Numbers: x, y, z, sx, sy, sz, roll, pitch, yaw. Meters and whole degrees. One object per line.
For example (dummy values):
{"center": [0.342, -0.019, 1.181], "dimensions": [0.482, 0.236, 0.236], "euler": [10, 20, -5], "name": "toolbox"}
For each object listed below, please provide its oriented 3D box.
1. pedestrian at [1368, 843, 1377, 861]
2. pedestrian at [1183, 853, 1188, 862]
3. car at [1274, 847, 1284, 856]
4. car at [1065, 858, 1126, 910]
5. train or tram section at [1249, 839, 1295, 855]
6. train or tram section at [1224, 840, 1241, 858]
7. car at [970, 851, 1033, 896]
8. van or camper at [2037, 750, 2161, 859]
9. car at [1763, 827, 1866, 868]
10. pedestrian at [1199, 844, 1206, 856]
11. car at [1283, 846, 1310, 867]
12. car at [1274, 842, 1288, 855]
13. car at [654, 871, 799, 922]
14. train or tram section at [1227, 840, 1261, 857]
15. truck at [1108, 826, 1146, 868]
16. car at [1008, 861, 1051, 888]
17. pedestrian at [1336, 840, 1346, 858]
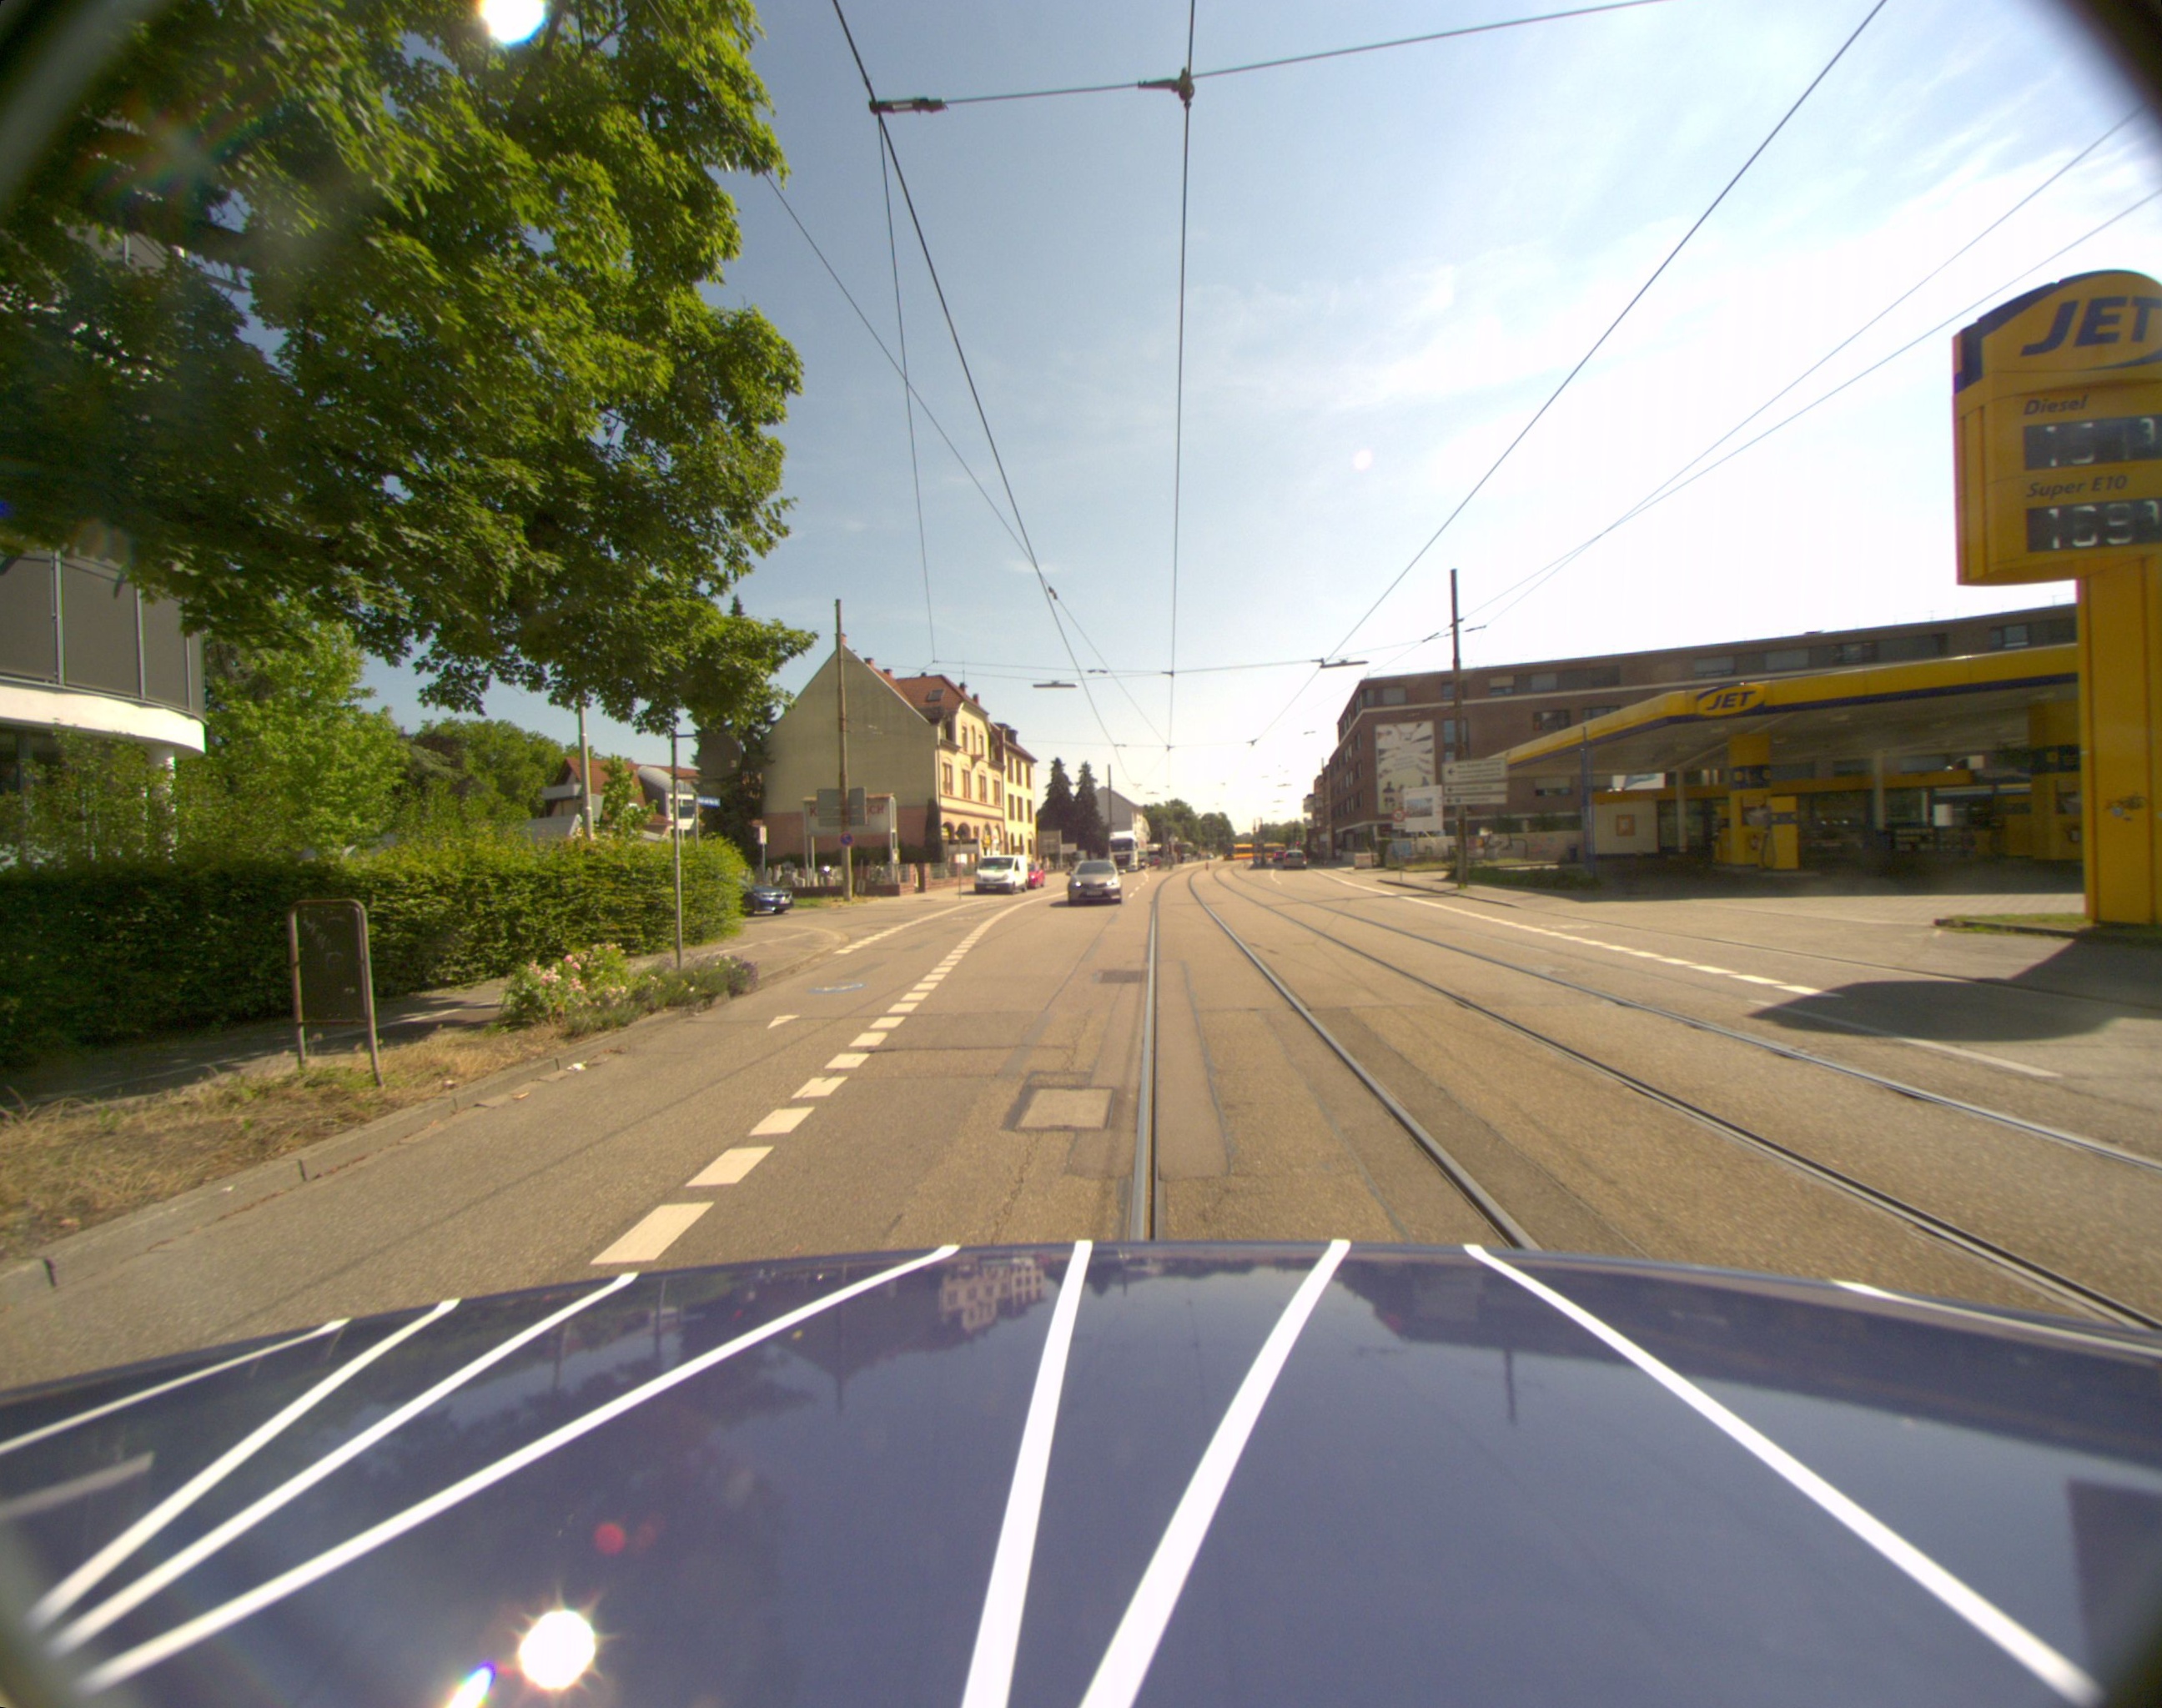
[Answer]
{"center": [26.413, -0.177, 68.806], "dimensions": [0.582, 1.654, 0.700], "euler": [-2, 1, 12], "name": "pedestrian"}
{"center": [14.033, 0.446, 102.179], "dimensions": [0.630, 1.247, 0.710], "euler": [-2, 1, 13], "name": "pedestrian"}
{"center": [34.922, -0.399, 133.965], "dimensions": [1.628, 1.460, 3.870], "euler": [-3, -1, 14], "name": "car"}
{"center": [0.559, 0.916, 25.074], "dimensions": [1.695, 1.440, 4.482], "euler": [-4, 0, 4], "name": "car"}
{"center": [45.421, -1.707, 180.572], "dimensions": [13.362, 3.460, 2.681], "euler": [-2, 0, -37], "name": "train or tram section"}
{"center": [32.003, -1.137, 160.108], "dimensions": [2.683, 3.460, 13.352], "euler": [-2, 0, 15], "name": "train or tram section"}
{"center": [-3.852, 0.880, 37.809], "dimensions": [1.980, 2.043, 5.193], "euler": [0, 1, 8], "name": "car"}
{"center": [31.234, -1.502, 21.504], "dimensions": [2.610, 2.950, 6.723], "euler": [-5, 0, 28], "name": "van or camper"}
{"center": [26.641, -0.287, 27.761], "dimensions": [1.698, 1.295, 4.398], "euler": [-4, 0, 31], "name": "car"}
{"center": [19.378, -0.675, 121.480], "dimensions": [0.982, 1.847, 1.239], "euler": [-2, 0, 14], "name": "pedestrian"}
{"center": [17.222, 0.164, 60.798], "dimensions": [1.749, 1.562, 3.894], "euler": [-1, 1, 11], "name": "car"}
{"center": [29.019, -0.843, 110.499], "dimensions": [1.804, 1.718, 4.193], "euler": [-4, -1, 14], "name": "car"}
{"center": [-11.076, 1.306, 23.893], "dimensions": [3.753, 1.380, 1.672], "euler": [-2, 0, 7], "name": "car"}
{"center": [36.918, -1.374, 171.541], "dimensions": [2.681, 3.460, 13.363], "euler": [-2, 0, 34], "name": "train or tram section"}
{"center": [4.615, -0.663, 74.443], "dimensions": [2.655, 3.772, 7.869], "euler": [-2, 0, 10], "name": "truck"}
{"center": [-2.951, 1.162, 44.116], "dimensions": [1.725, 1.435, 4.314], "euler": [0, 0, 7], "name": "car"}
{"center": [27.331, -0.502, 79.918], "dimensions": [0.846, 1.808, 0.839], "euler": [-2, 0, 14], "name": "pedestrian"}
